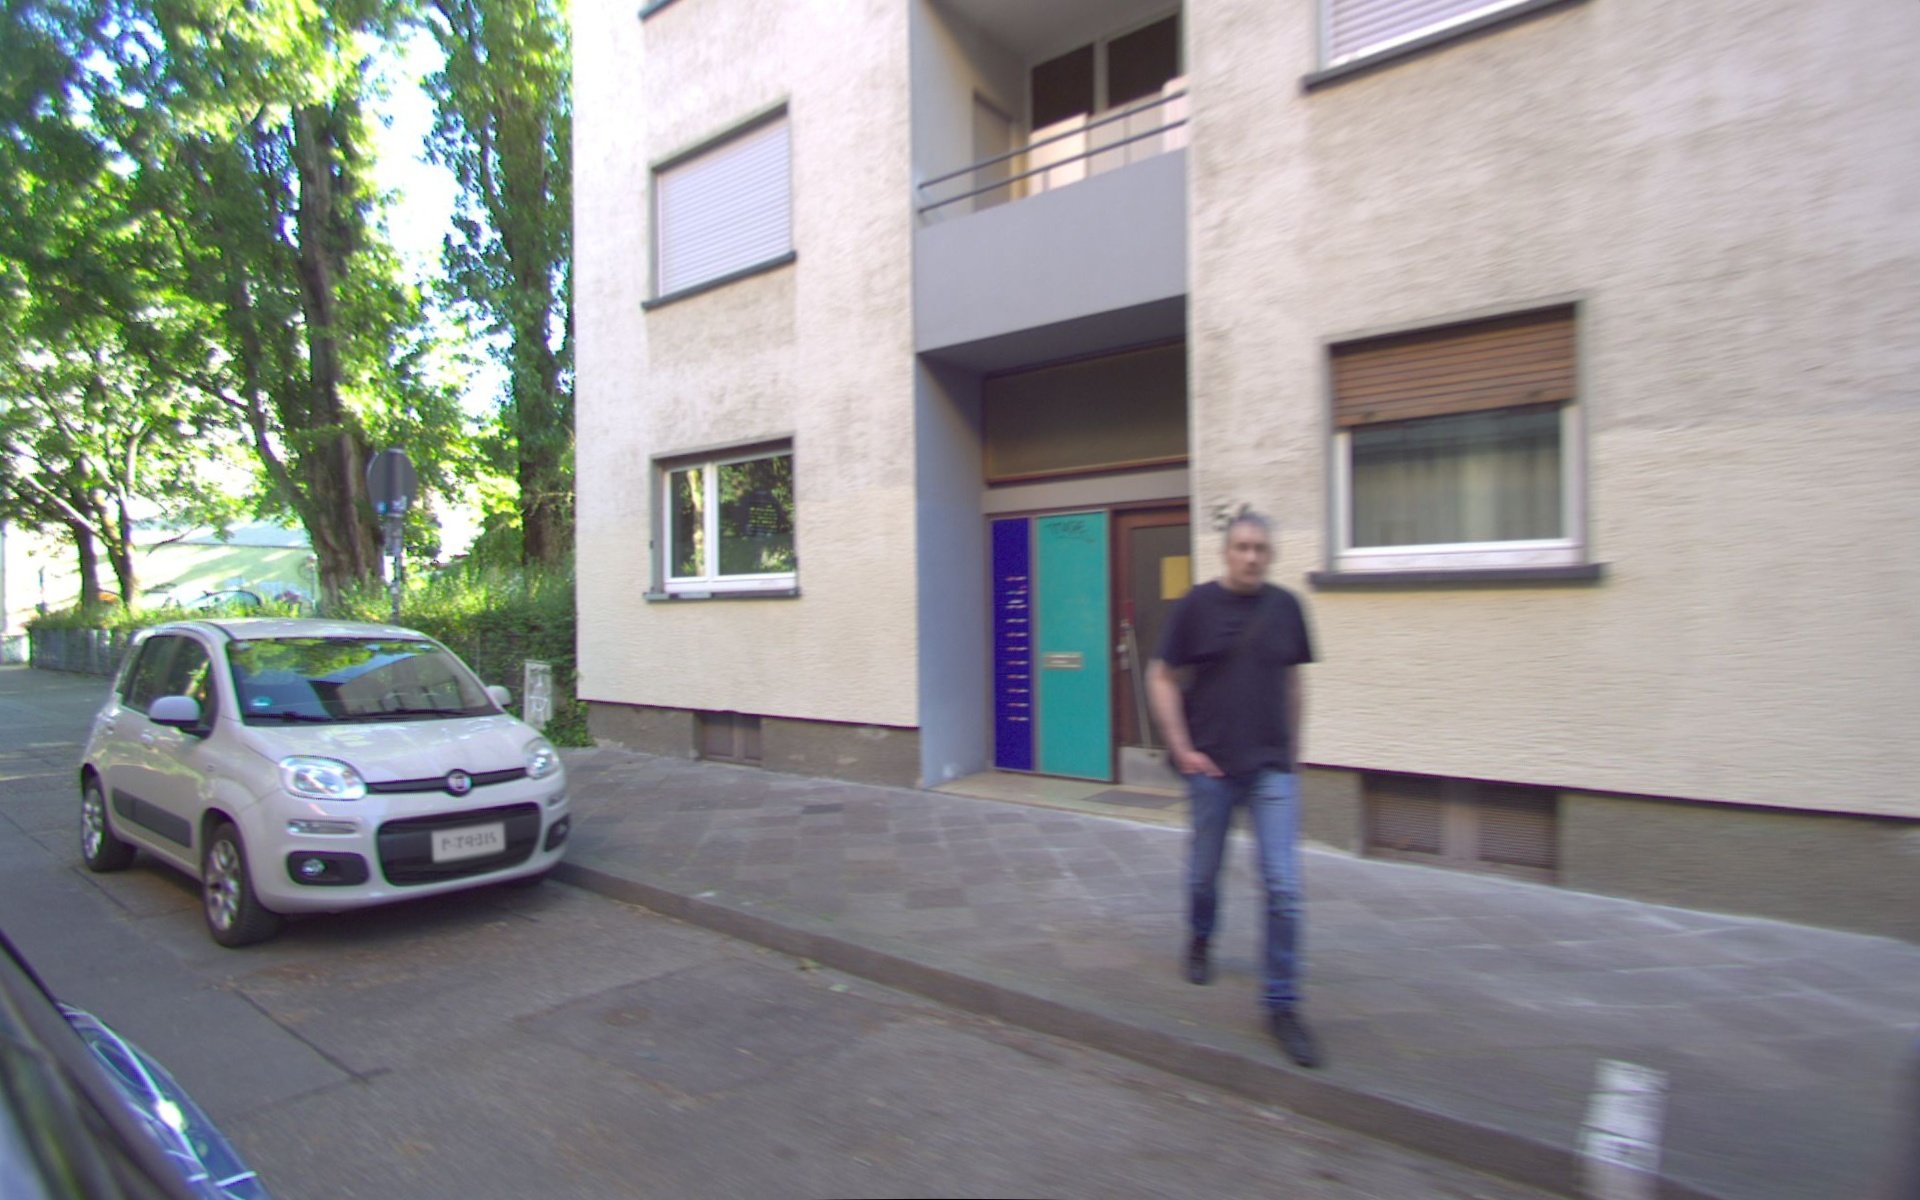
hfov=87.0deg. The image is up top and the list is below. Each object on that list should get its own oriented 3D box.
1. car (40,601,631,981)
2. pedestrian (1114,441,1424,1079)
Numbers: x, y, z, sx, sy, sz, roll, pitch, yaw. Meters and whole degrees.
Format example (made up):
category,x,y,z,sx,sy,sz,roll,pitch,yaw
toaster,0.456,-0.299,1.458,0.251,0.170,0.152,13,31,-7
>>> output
category,x,y,z,sx,sy,sz,roll,pitch,yaw
car,-3.827,0.829,5.981,3.862,1.551,1.659,-1,-2,37
pedestrian,0.988,0.474,3.455,0.662,1.853,0.912,0,-2,-9
